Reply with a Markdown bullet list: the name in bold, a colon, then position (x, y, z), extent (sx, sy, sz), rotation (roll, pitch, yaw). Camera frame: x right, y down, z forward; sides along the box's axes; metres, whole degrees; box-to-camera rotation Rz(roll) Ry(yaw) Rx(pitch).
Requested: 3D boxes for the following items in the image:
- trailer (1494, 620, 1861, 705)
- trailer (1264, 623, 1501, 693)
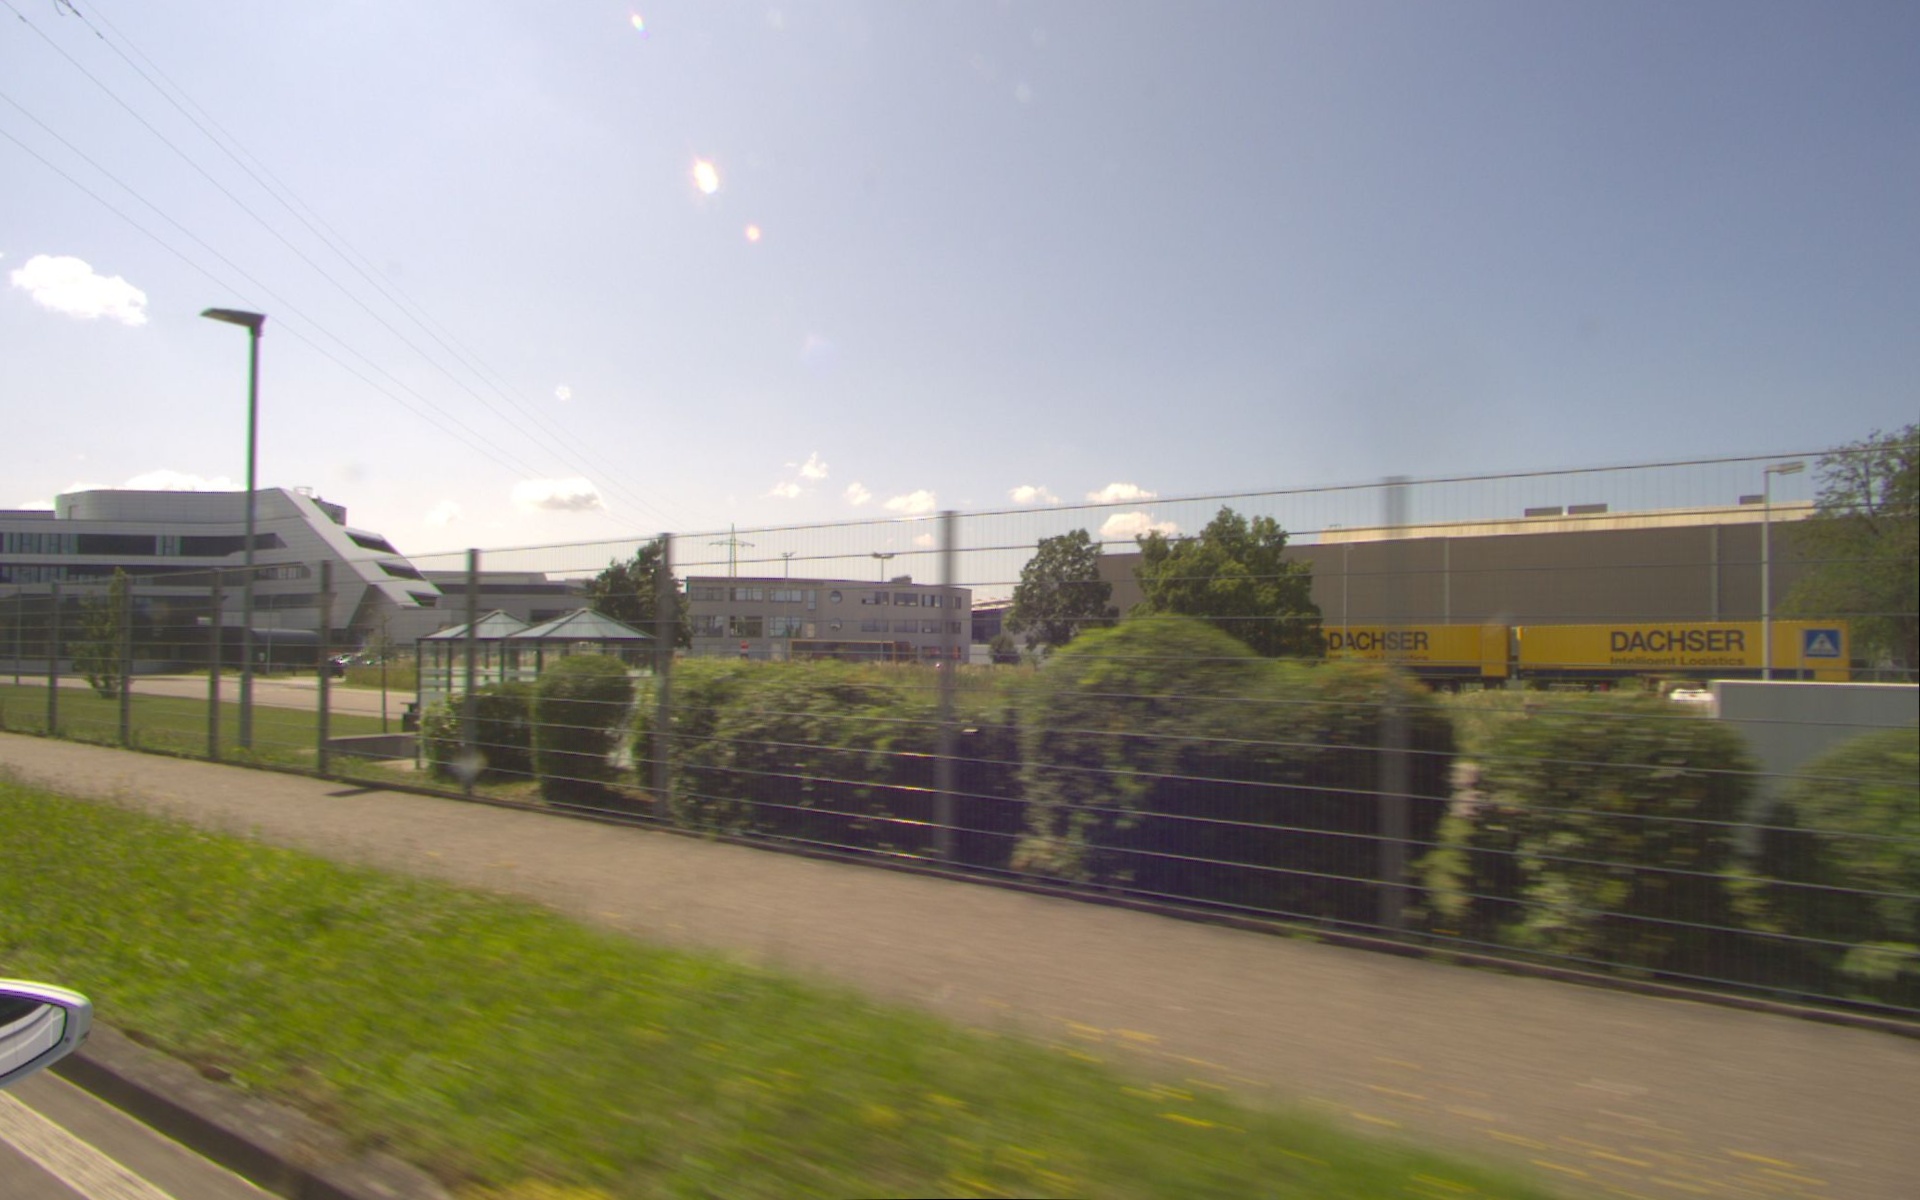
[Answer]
- **trailer**: position (35.783, 3.046, 51.098), extent (14.860, 3.889, 2.928), rotation (-1, -3, 36)
- **trailer**: position (24.605, 3.319, 59.028), extent (12.582, 3.812, 2.911), rotation (-1, -3, 35)
